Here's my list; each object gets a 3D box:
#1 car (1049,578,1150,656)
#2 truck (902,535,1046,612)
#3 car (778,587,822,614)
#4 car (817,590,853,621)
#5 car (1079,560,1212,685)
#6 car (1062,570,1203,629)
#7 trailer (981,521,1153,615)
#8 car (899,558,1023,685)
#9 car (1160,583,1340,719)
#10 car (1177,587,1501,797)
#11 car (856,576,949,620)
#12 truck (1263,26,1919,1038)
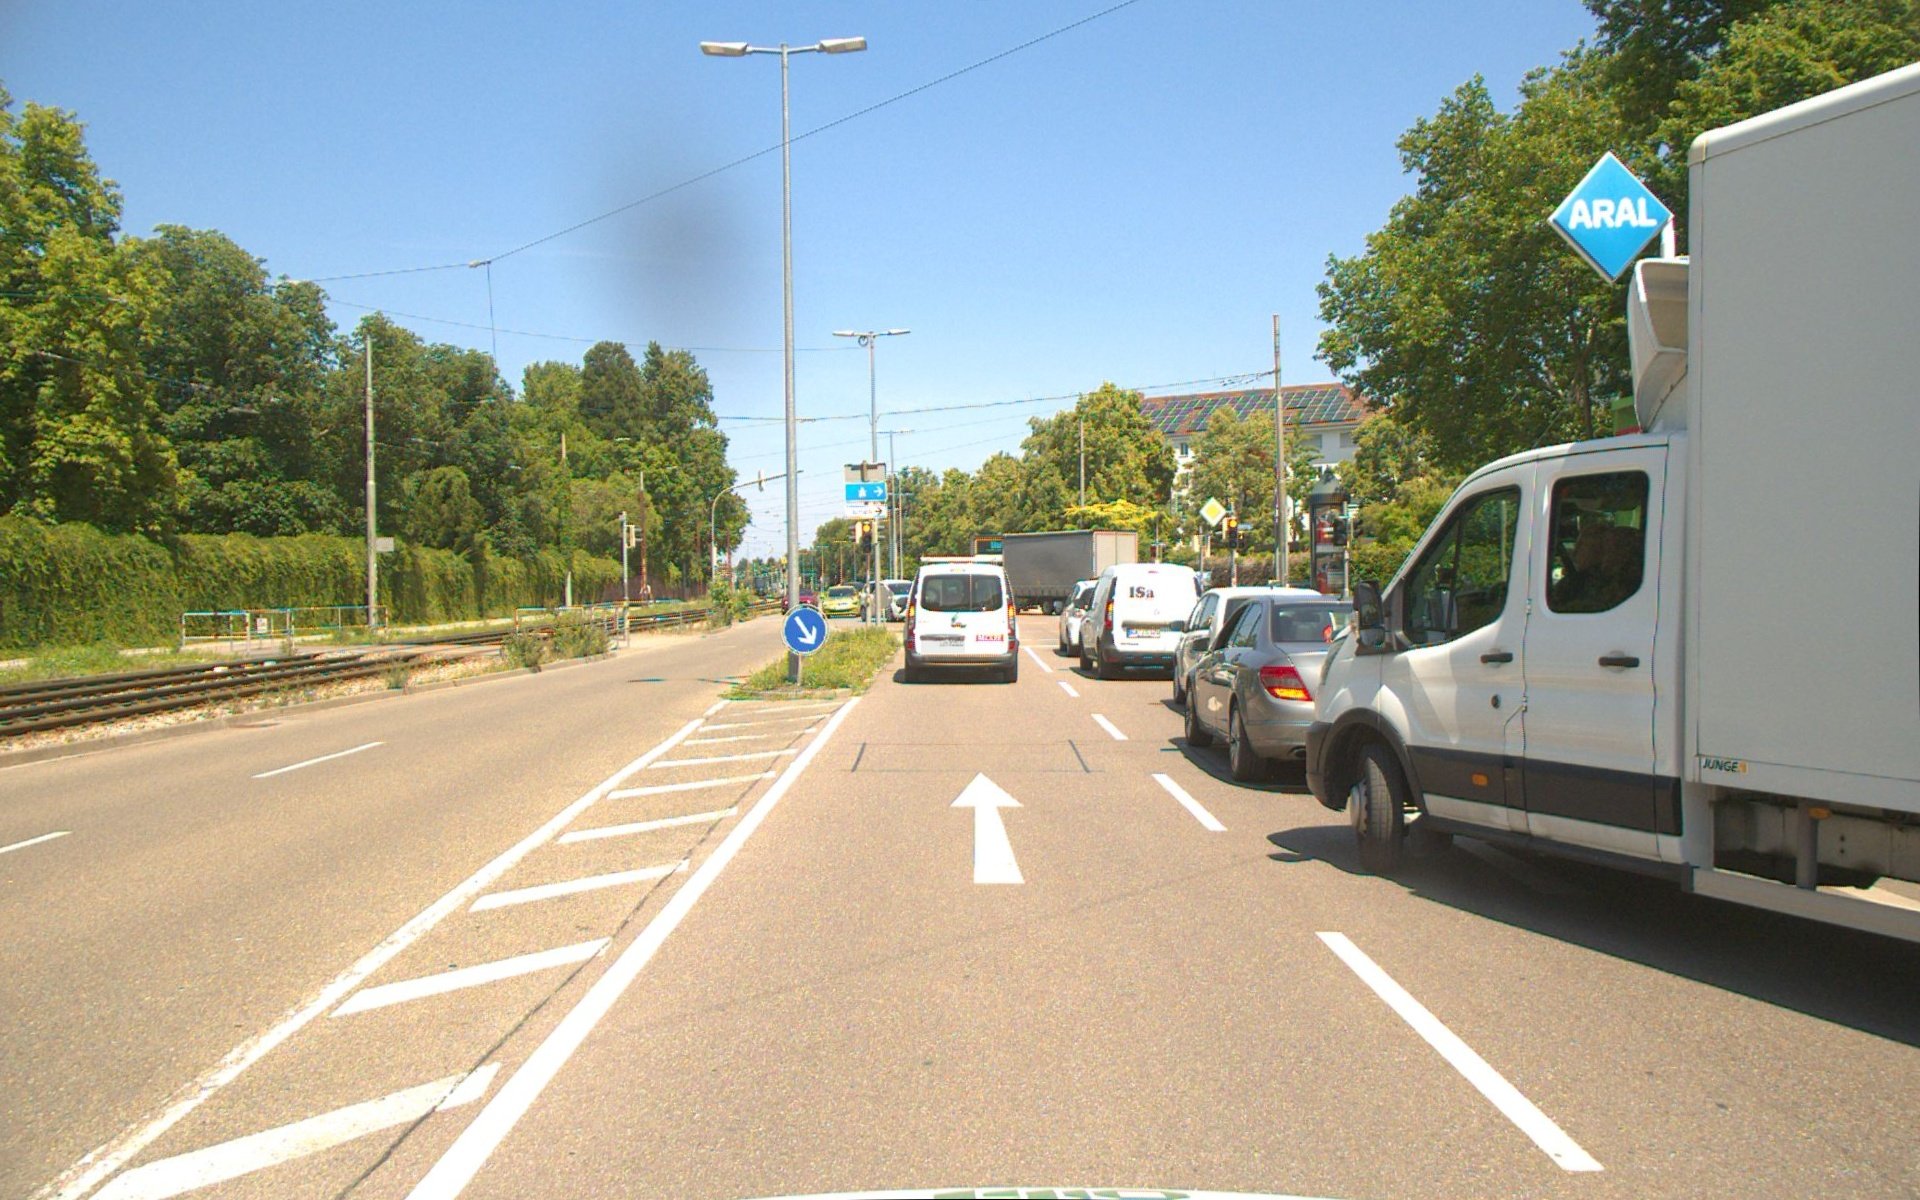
[{"bbox_3d":[2.876,0.323,34.851,1.720,1.512,4.000,-1,1,-1],"label":"car"},{"bbox_3d":[0.581,-1.303,84.580,3.537,3.696,8.723,-1,0,-29],"label":"truck"},{"bbox_3d":[-8.803,0.006,91.387,1.943,1.382,4.538,-1,0,0],"label":"car"},{"bbox_3d":[-5.819,0.242,77.308,1.508,1.403,4.000,-1,0,-3],"label":"car"},{"bbox_3d":[2.953,0.324,27.042,1.675,1.862,4.013,-1,0,0],"label":"car"},{"bbox_3d":[5.807,-0.025,55.592,4.428,1.861,2.002,-1,0,15],"label":"car"},{"bbox_3d":[4.830,-1.431,76.962,3.493,4.121,8.881,-1,1,-31],"label":"trailer"},{"bbox_3d":[-0.024,0.297,26.215,1.829,1.868,3.848,0,1,-1],"label":"car"},{"bbox_3d":[3.418,0.562,20.025,1.574,1.477,3.521,1,0,0],"label":"car"},{"bbox_3d":[3.005,0.645,14.066,1.759,1.475,4.418,-1,0,0],"label":"car"},{"bbox_3d":[-2.327,-0.078,65.684,1.971,1.645,4.413,-1,0,-28],"label":"car"},{"bbox_3d":[4.248,-0.248,6.461,2.384,3.450,7.786,-1,1,-20],"label":"truck"}]
